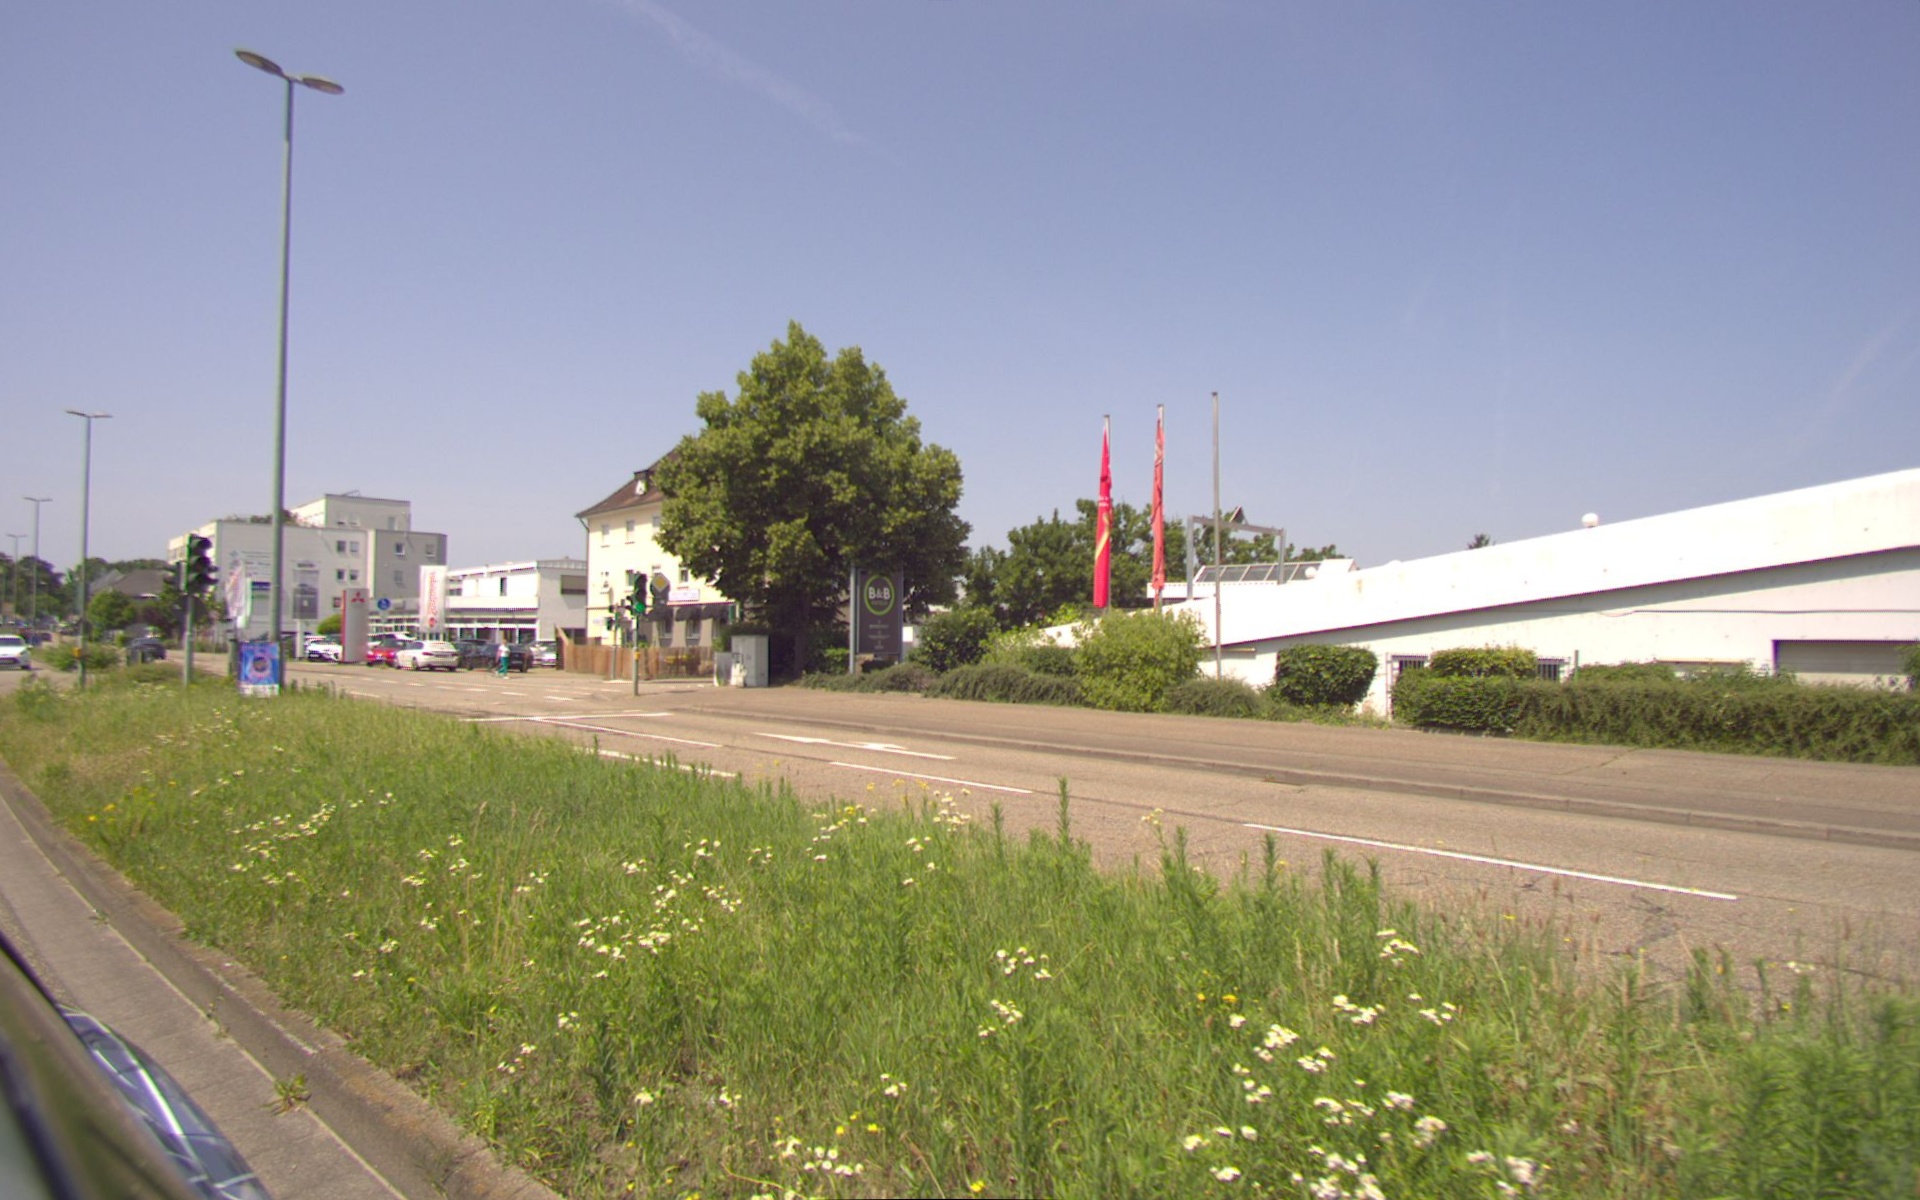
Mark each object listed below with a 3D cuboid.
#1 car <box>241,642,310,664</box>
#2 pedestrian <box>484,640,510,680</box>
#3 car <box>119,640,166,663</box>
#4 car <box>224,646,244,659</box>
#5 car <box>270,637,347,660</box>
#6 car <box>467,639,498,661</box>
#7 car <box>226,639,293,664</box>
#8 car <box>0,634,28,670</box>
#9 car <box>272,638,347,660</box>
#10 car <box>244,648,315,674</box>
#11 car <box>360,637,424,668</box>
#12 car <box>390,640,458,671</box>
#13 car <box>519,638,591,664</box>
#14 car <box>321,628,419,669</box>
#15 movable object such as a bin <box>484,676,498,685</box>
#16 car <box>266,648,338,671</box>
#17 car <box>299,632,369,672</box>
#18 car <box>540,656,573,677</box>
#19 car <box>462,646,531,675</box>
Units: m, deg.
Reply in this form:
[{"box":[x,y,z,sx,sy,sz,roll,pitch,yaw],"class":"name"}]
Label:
[{"box":[-52.190,4.029,77.201,2.090,1.621,3.942,-2,-5,43],"class":"car"},{"box":[-20.470,2.637,44.766,0.732,1.760,1.034,3,-4,-42],"class":"pedestrian"},{"box":[-55.395,3.500,68.525,1.970,1.497,4.504,3,-4,-45],"class":"car"},{"box":[-79.070,5.692,110.219,1.435,1.350,2.836,3,-4,-42],"class":"car"},{"box":[-42.892,3.214,66.646,1.760,1.478,3.942,-2,-4,43],"class":"car"},{"box":[-29.250,3.043,62.051,1.622,1.261,4.013,2,-3,-24],"class":"car"},{"box":[-54.598,3.990,78.927,2.000,1.896,3.942,-2,-4,43],"class":"car"},{"box":[-40.292,2.165,42.385,1.669,1.445,3.713,3,-4,-44],"class":"car"},{"box":[-44.202,3.321,68.774,1.860,1.405,3.942,-2,-4,43],"class":"car"},{"box":[-50.346,4.516,74.914,1.760,1.621,3.943,-2,-7,43],"class":"car"},{"box":[-31.568,2.900,56.378,1.810,1.655,4.187,1,-3,-11],"class":"car"},{"box":[-26.247,2.701,49.494,1.754,1.421,4.764,5,-5,-42],"class":"car"},{"box":[-26.384,3.309,65.946,1.866,1.627,3.941,-2,-4,44],"class":"car"},{"box":[-34.562,2.817,59.358,1.760,1.721,4.500,-2,5,43],"class":"car"},{"box":[-20.820,3.595,44.951,0.411,0.375,0.507,3,-4,-43],"class":"movable object such as a bin"},{"box":[-46.152,4.161,71.018,3.939,1.621,1.927,3,-4,-43],"class":"car"},{"box":[-40.330,3.332,65.326,1.737,1.634,3.999,0,11,5],"class":"car"},{"box":[-24.842,4.081,62.381,1.622,1.261,4.012,2,-3,-19],"class":"car"},{"box":[-23.334,3.013,50.859,3.999,1.362,1.713,-2,-4,43],"class":"car"}]
